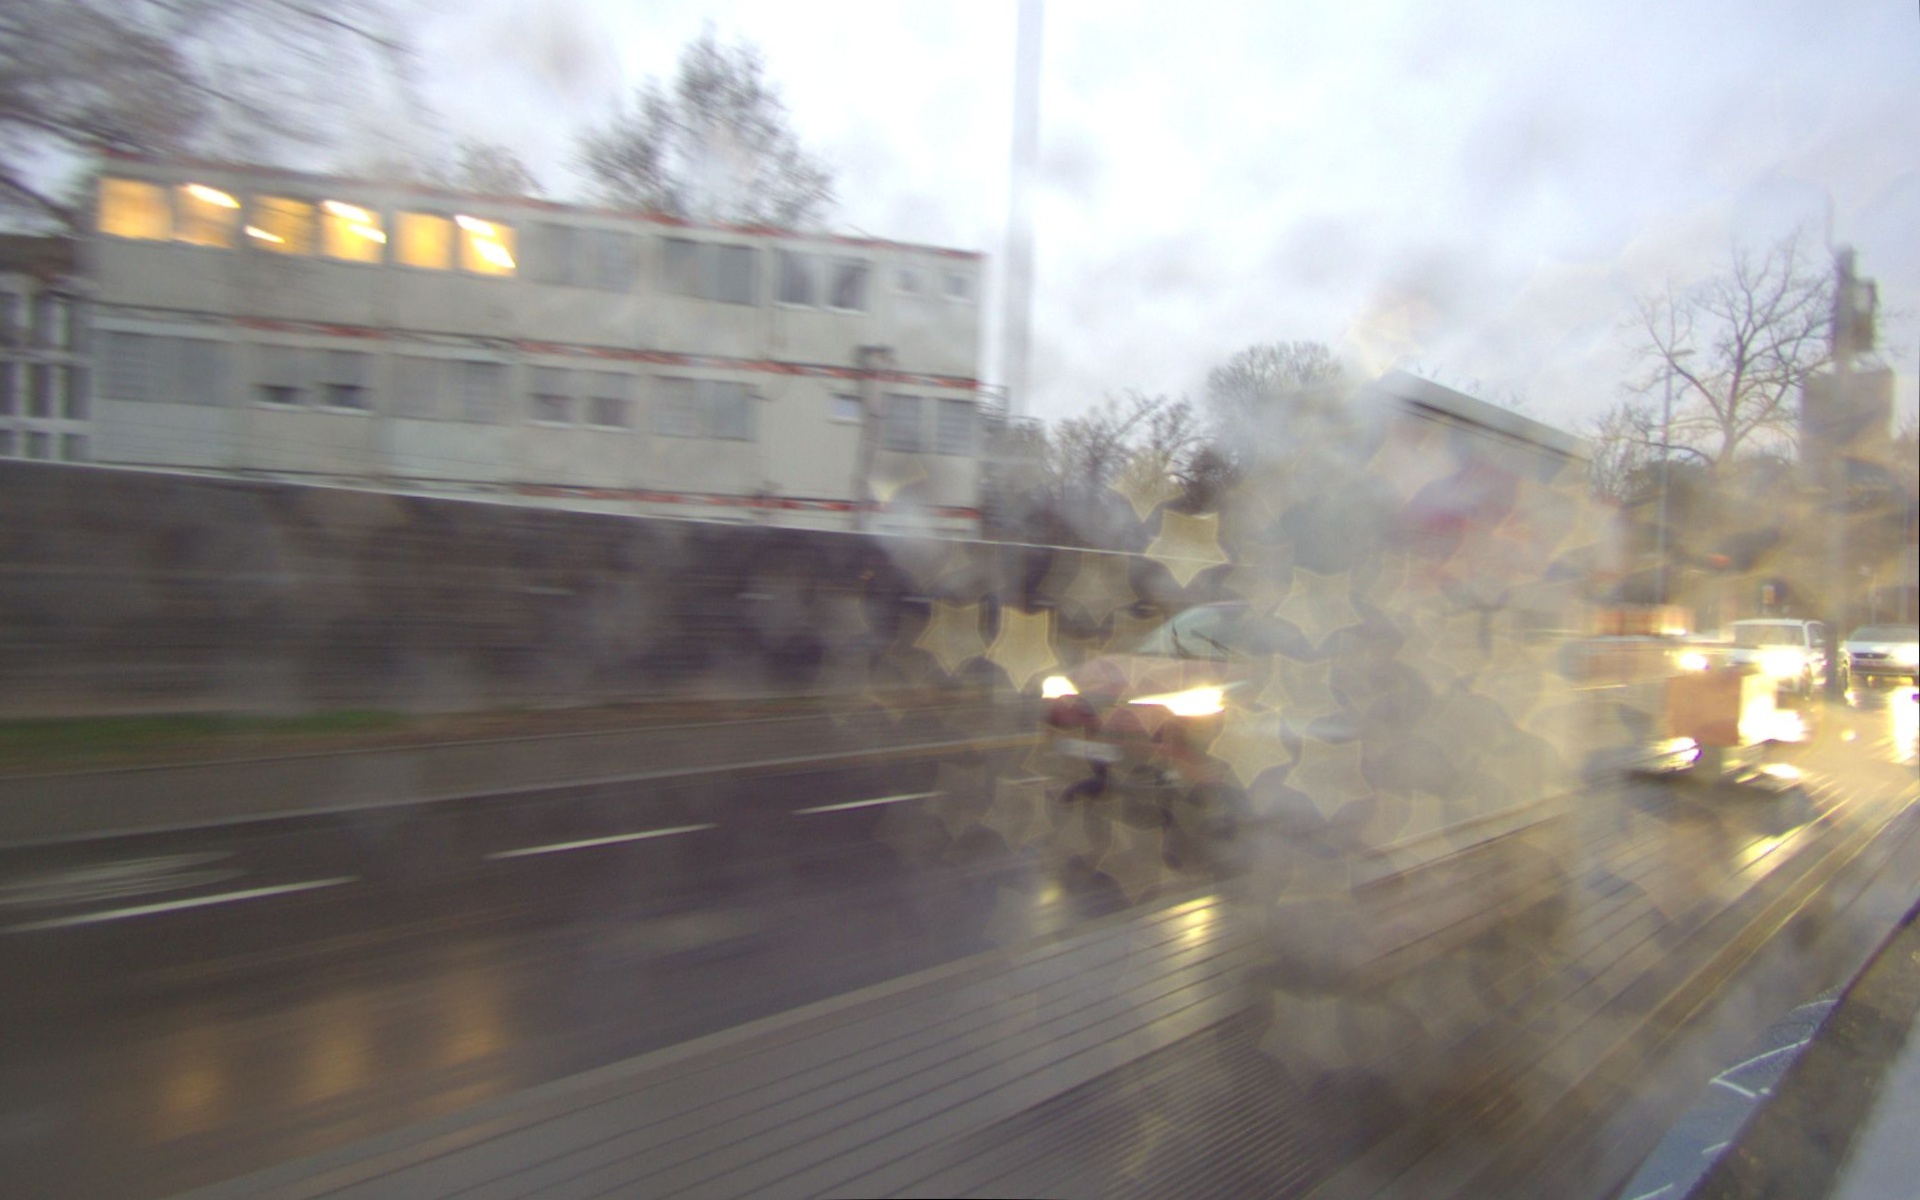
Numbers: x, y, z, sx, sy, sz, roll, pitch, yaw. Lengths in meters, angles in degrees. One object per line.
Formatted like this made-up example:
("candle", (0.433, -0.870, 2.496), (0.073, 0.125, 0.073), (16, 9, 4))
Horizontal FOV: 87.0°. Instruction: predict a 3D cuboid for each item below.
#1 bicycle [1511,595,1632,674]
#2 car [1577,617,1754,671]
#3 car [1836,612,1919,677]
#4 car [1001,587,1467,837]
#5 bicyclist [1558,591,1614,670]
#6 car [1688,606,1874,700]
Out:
("bicycle", (13.734, 0.743, 22.816), (0.677, 1.678, 2.247), (0, -1, -34))
("car", (23.588, 1.422, 34.012), (1.845, 1.507, 4.521), (1, 1, -32))
("car", (24.015, 1.081, 25.734), (3.965, 1.479, 1.779), (0, 1, -36))
("car", (2.331, 0.676, 8.046), (3.931, 1.498, 1.725), (0, 0, -42))
("bicyclist", (13.940, 0.672, 22.554), (0.684, 1.700, 0.818), (1, 0, -32))
("car", (15.918, 0.920, 19.528), (4.877, 1.520, 1.791), (0, 1, -39))
